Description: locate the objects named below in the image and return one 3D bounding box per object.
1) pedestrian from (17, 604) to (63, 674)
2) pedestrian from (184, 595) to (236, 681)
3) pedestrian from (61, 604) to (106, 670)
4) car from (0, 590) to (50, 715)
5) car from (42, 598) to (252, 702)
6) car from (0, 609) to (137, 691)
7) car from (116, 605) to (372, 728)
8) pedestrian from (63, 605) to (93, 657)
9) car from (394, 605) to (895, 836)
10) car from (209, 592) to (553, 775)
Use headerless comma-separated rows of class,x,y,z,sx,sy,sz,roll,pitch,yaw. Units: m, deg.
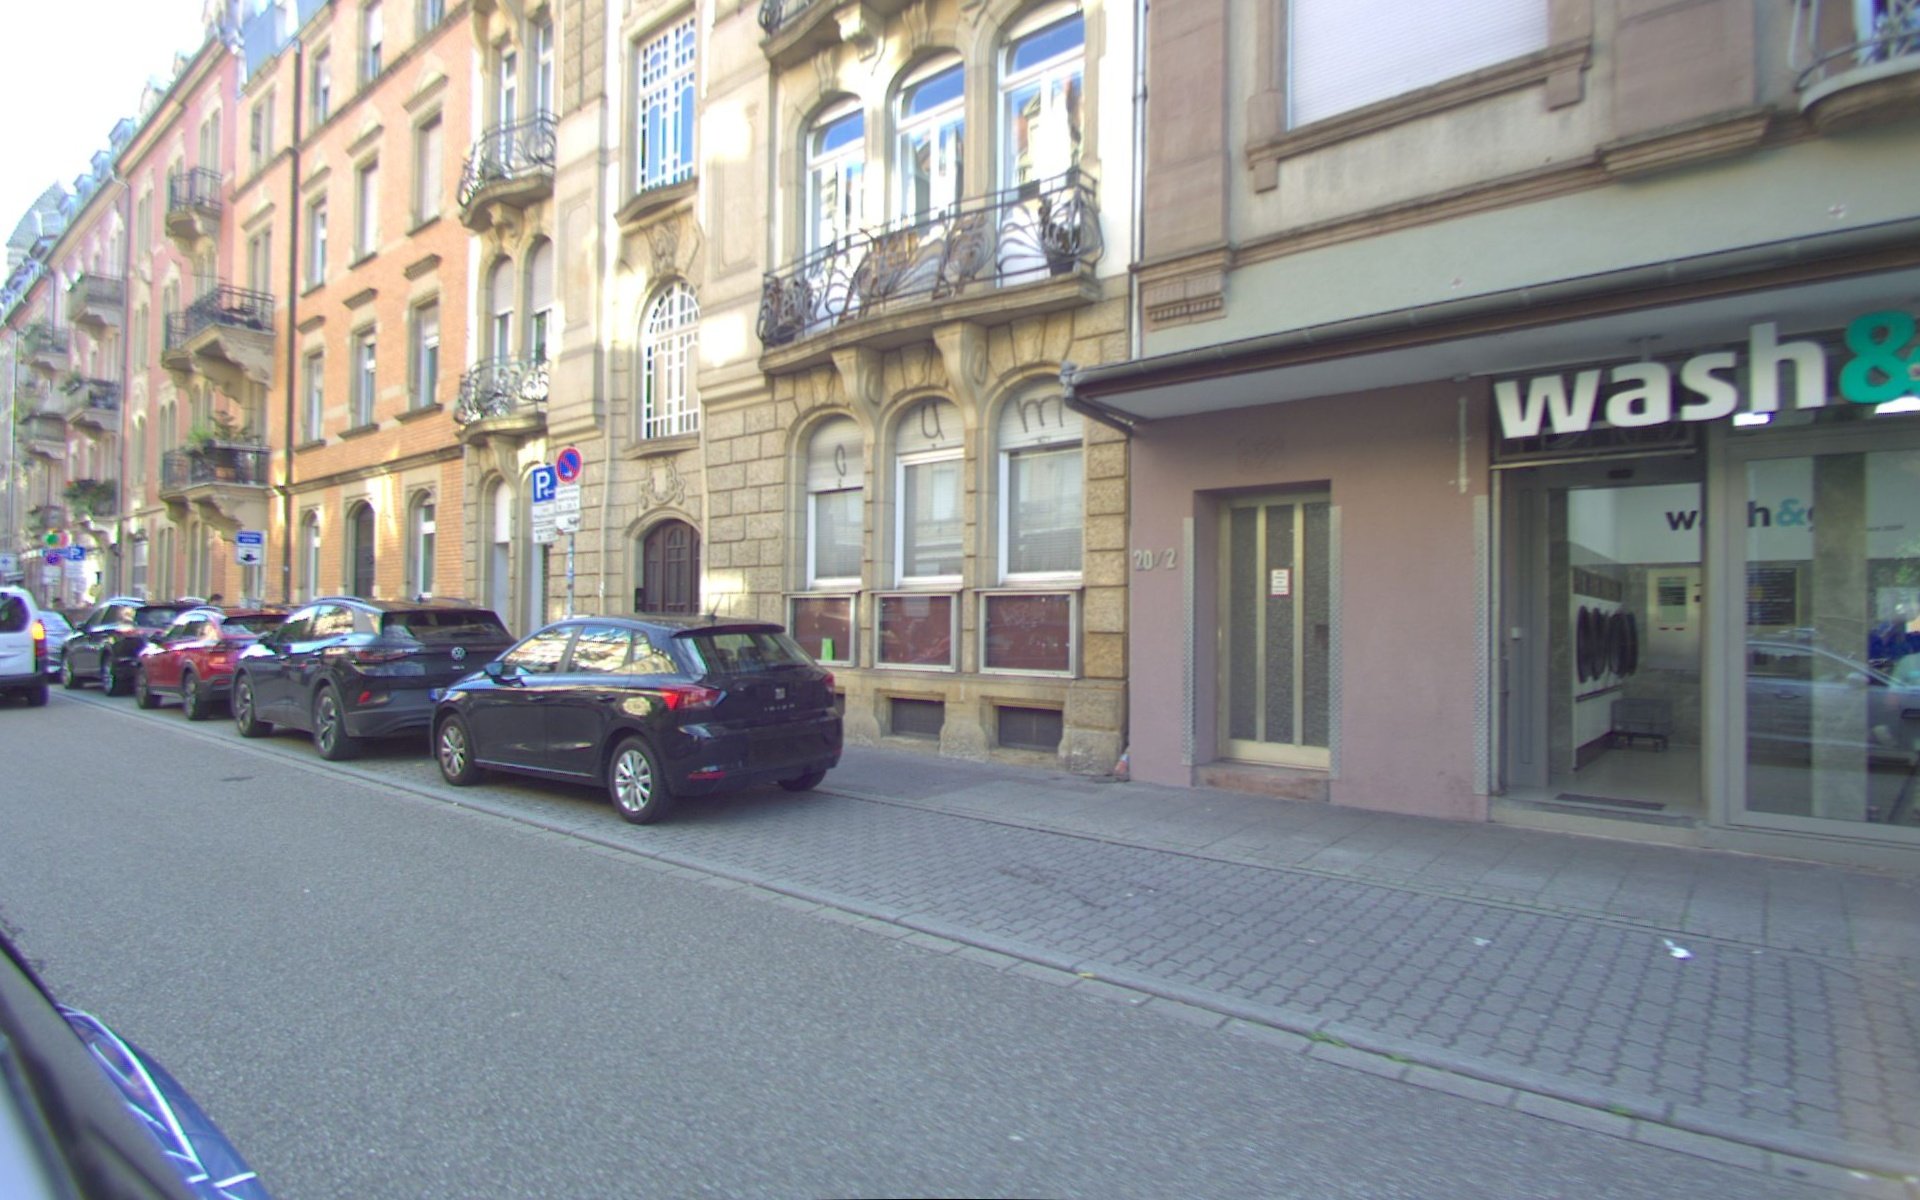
pedestrian,-23.179,0.978,25.511,0.659,1.722,0.565,-1,-1,5
pedestrian,-16.142,0.801,21.779,0.863,1.822,0.748,-1,-1,43
pedestrian,-22.578,0.938,26.074,0.545,1.674,0.679,-1,-1,10
car,-16.042,0.797,16.090,4.437,1.842,1.897,-1,-1,42
car,-15.093,0.868,18.700,4.885,1.693,1.856,-2,-1,36
car,-19.773,1.006,21.906,5.254,1.590,1.809,-1,-1,37
car,-10.698,0.881,15.019,4.422,1.556,1.974,0,-2,39
pedestrian,-29.785,1.038,34.192,0.763,1.709,0.657,-1,-1,40
car,-2.755,0.802,8.401,4.240,1.431,1.974,-1,-2,39
car,-6.641,0.784,11.346,4.843,1.641,1.772,0,-2,40
